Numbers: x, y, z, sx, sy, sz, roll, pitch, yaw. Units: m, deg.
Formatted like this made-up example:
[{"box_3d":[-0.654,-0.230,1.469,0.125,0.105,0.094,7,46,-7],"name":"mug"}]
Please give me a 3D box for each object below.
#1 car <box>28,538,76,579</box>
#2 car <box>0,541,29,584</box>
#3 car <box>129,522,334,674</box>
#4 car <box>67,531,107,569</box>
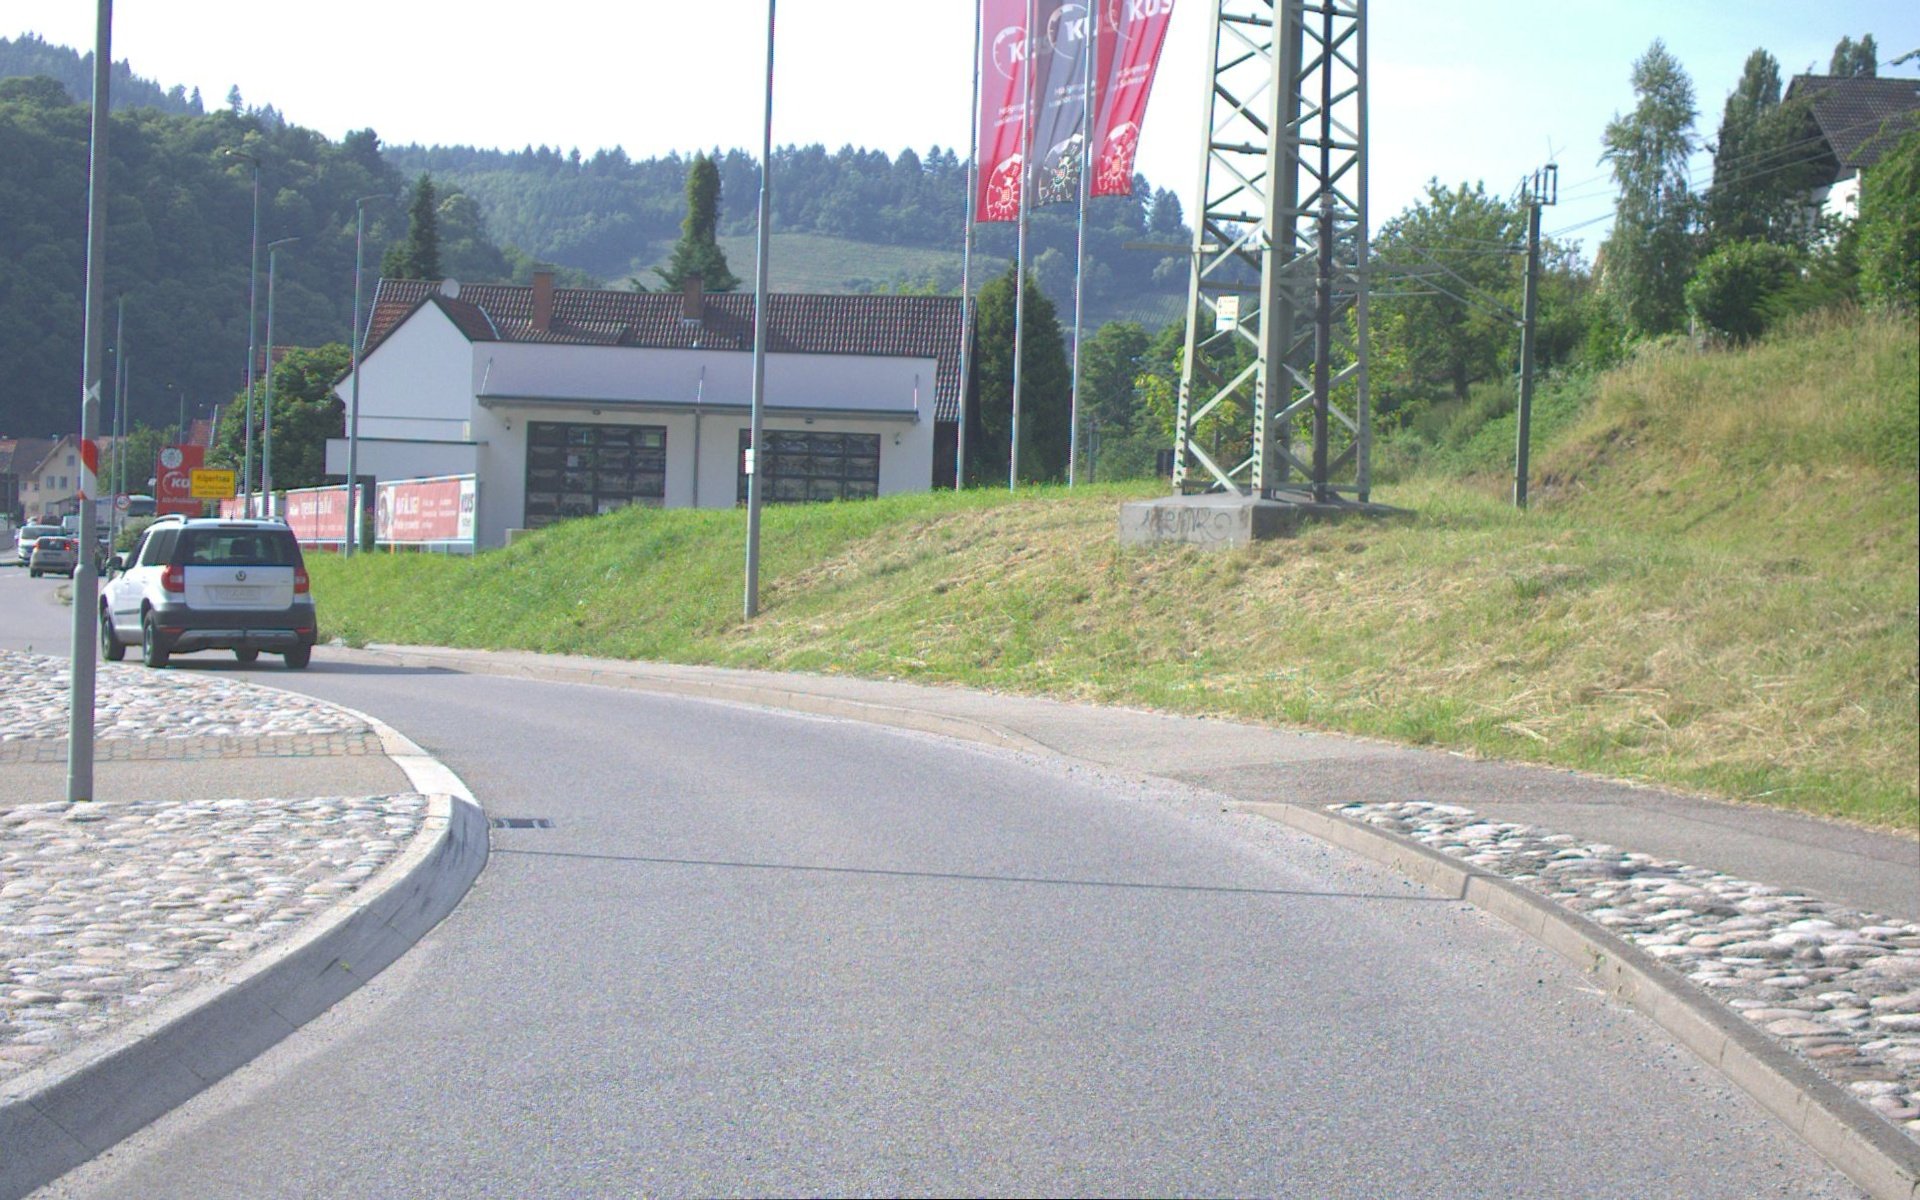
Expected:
[{"box_3d":[-34.414,-1.568,130.327,1.453,1.430,2.937,2,2,-10],"name":"car"},{"box_3d":[-44.794,-1.737,161.260,1.919,1.961,5.147,1,0,-13],"name":"car"},{"box_3d":[-8.222,-0.050,38.517,1.860,1.539,4.374,2,0,-16],"name":"car"},{"box_3d":[-35.470,-2.036,139.734,1.356,1.430,2.839,2,2,-11],"name":"car"}]
